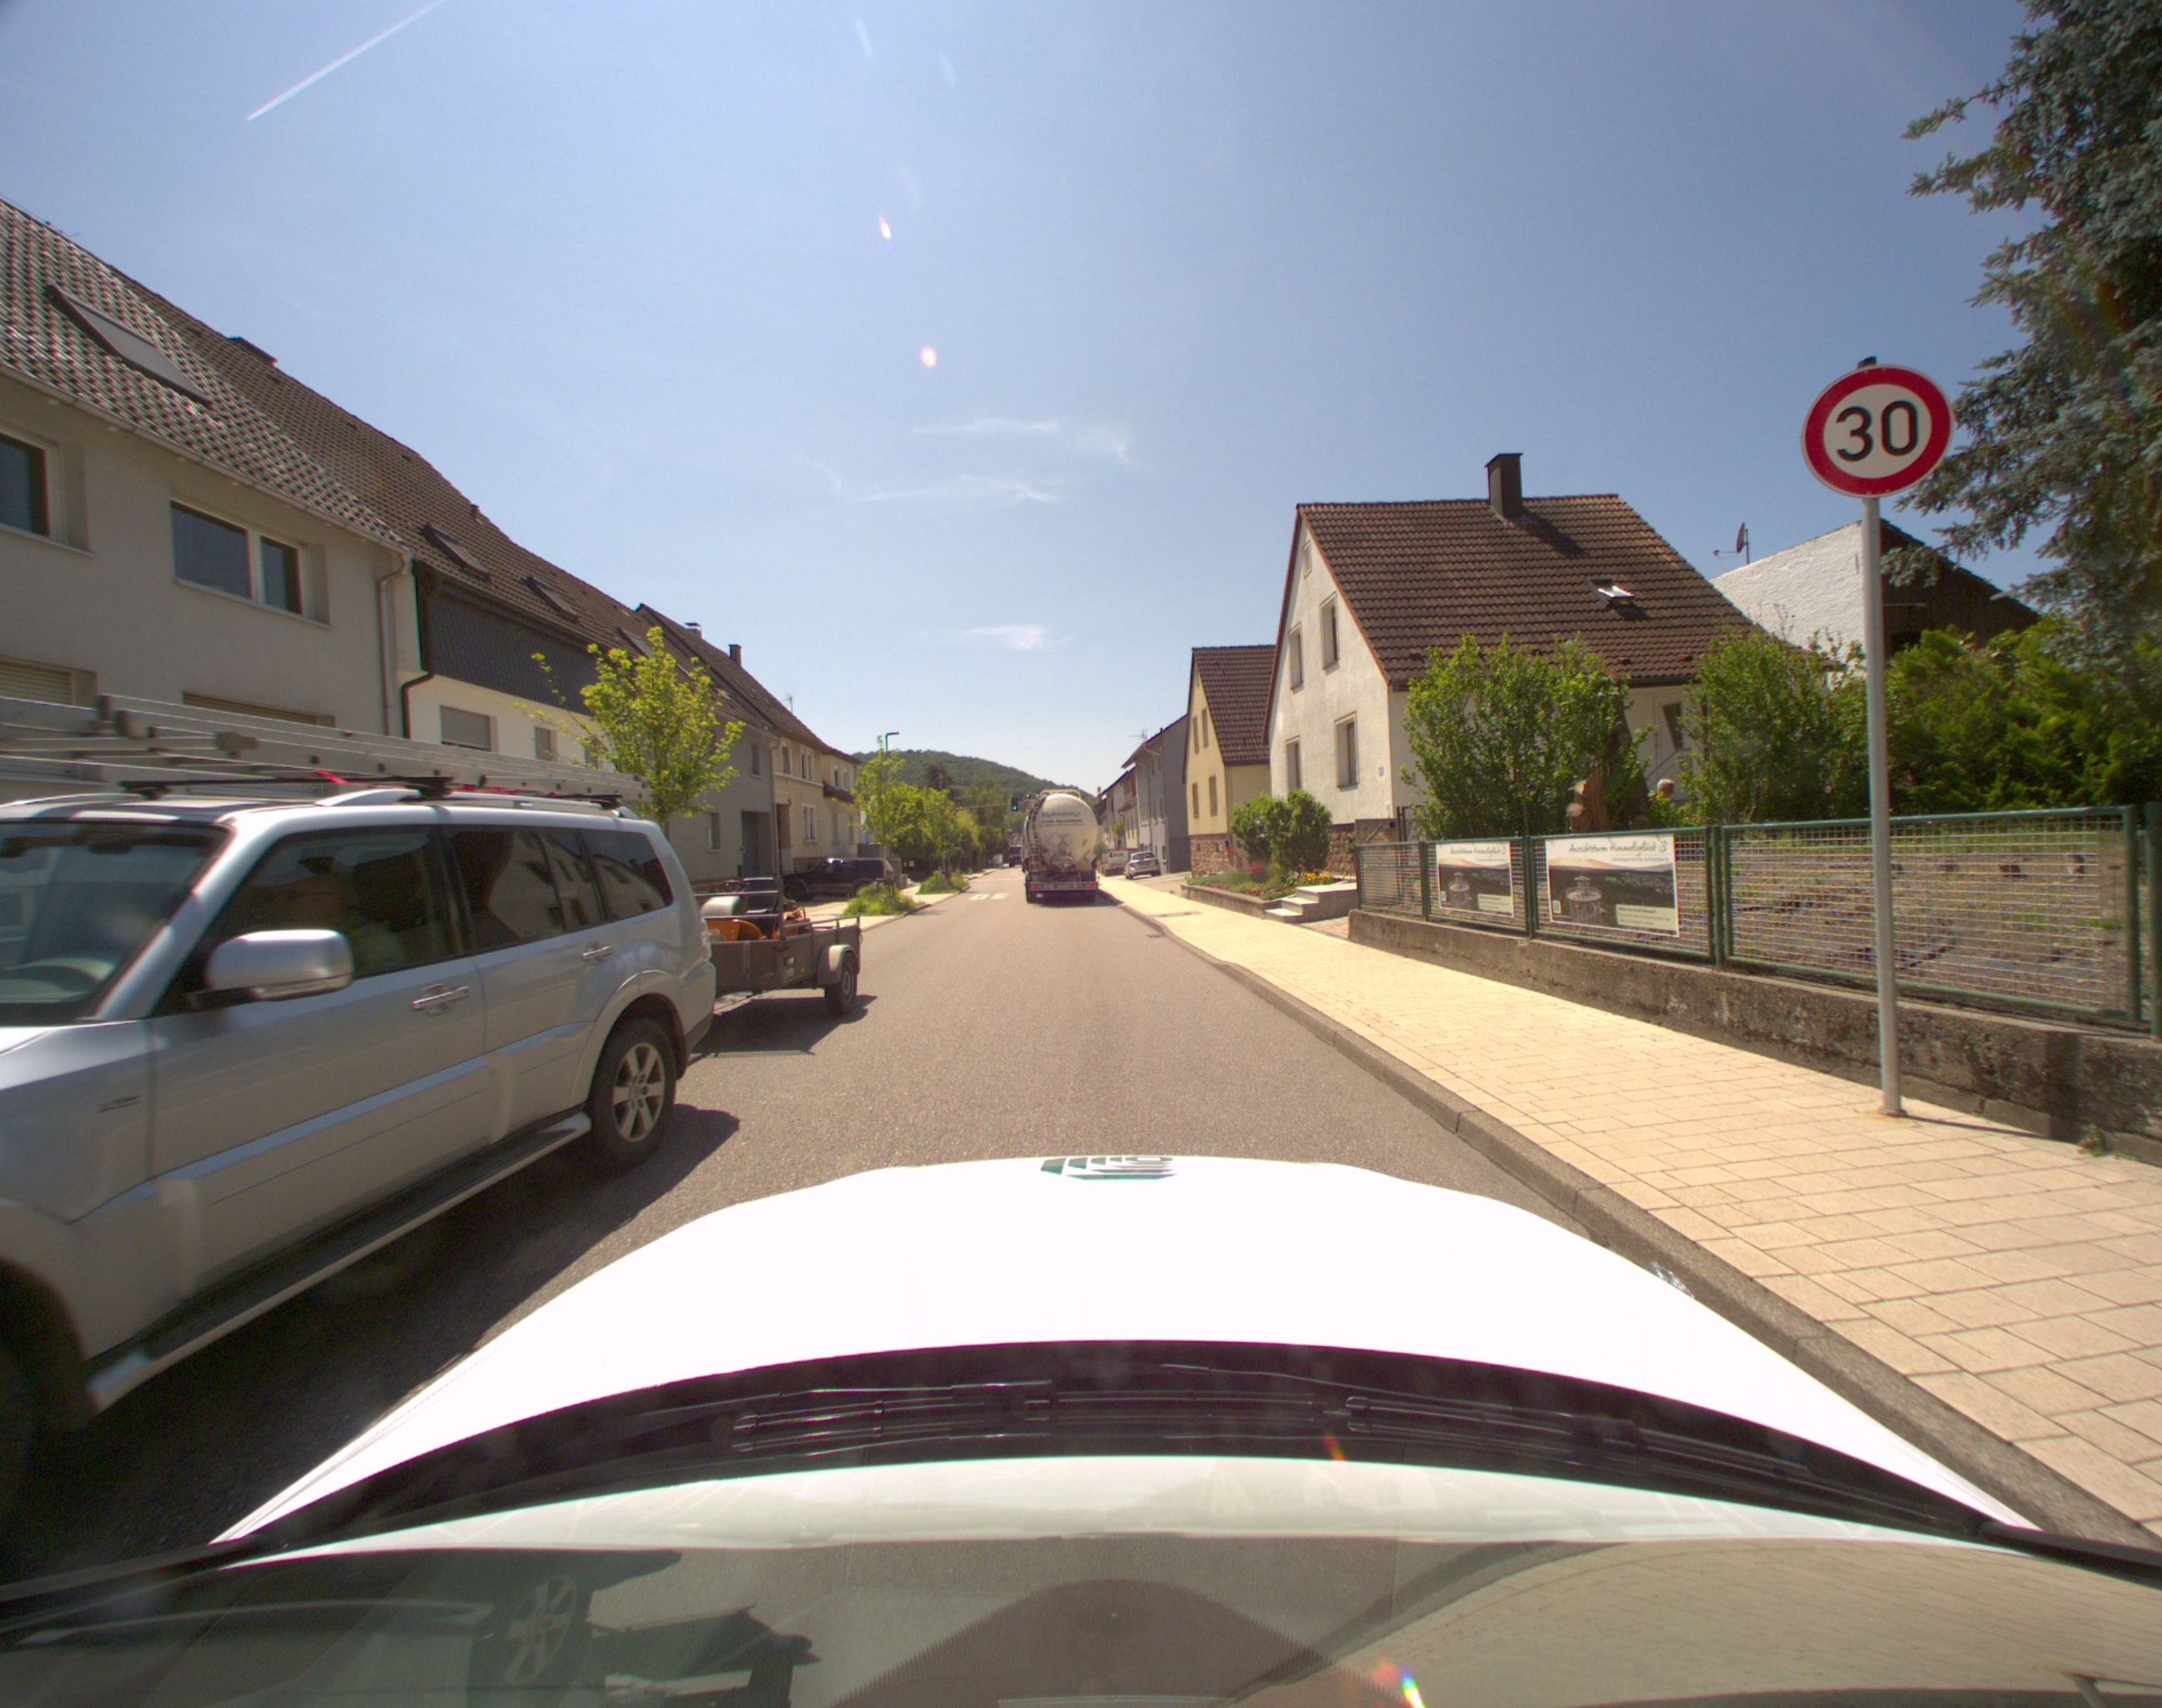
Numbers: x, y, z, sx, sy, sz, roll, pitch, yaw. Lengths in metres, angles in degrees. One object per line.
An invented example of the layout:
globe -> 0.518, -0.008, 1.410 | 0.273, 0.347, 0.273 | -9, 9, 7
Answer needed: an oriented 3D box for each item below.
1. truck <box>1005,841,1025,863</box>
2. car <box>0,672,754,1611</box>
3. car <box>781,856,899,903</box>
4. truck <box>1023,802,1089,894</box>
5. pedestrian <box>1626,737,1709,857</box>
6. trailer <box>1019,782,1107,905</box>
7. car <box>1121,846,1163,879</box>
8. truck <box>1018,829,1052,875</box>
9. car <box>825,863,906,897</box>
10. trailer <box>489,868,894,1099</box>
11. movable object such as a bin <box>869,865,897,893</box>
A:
truck -> -10.447, -0.277, 130.018 | 2.722, 3.371, 8.625 | -1, 0, -3
car -> -3.113, 0.602, 3.047 | 1.884, 1.861, 4.576 | -2, 0, -1
car -> -10.126, 1.045, 34.445 | 4.385, 1.750, 1.876 | -2, 0, -4
truck -> -1.223, -0.238, 38.366 | 2.802, 3.937, 6.092 | -1, 0, -3
pedestrian -> 8.422, -0.804, 11.718 | 0.603, 1.615, 0.552 | -7, 0, -3
trailer -> -0.872, -0.327, 32.056 | 2.790, 4.001, 10.311 | -2, 0, -3
car -> 3.351, 0.452, 45.528 | 1.786, 1.541, 4.517 | -7, 0, -1
truck -> -5.074, -0.056, 87.687 | 2.844, 4.679, 11.308 | 0, -2, -7
car -> -10.221, 1.240, 38.608 | 3.505, 1.439, 1.709 | -2, -1, 32
trailer -> -3.064, 0.890, 7.557 | 1.569, 1.396, 4.402 | -2, 0, 0
movable object such as a bin -> -9.823, 1.231, 40.456 | 0.986, 1.319, 1.404 | -1, 2, 1
